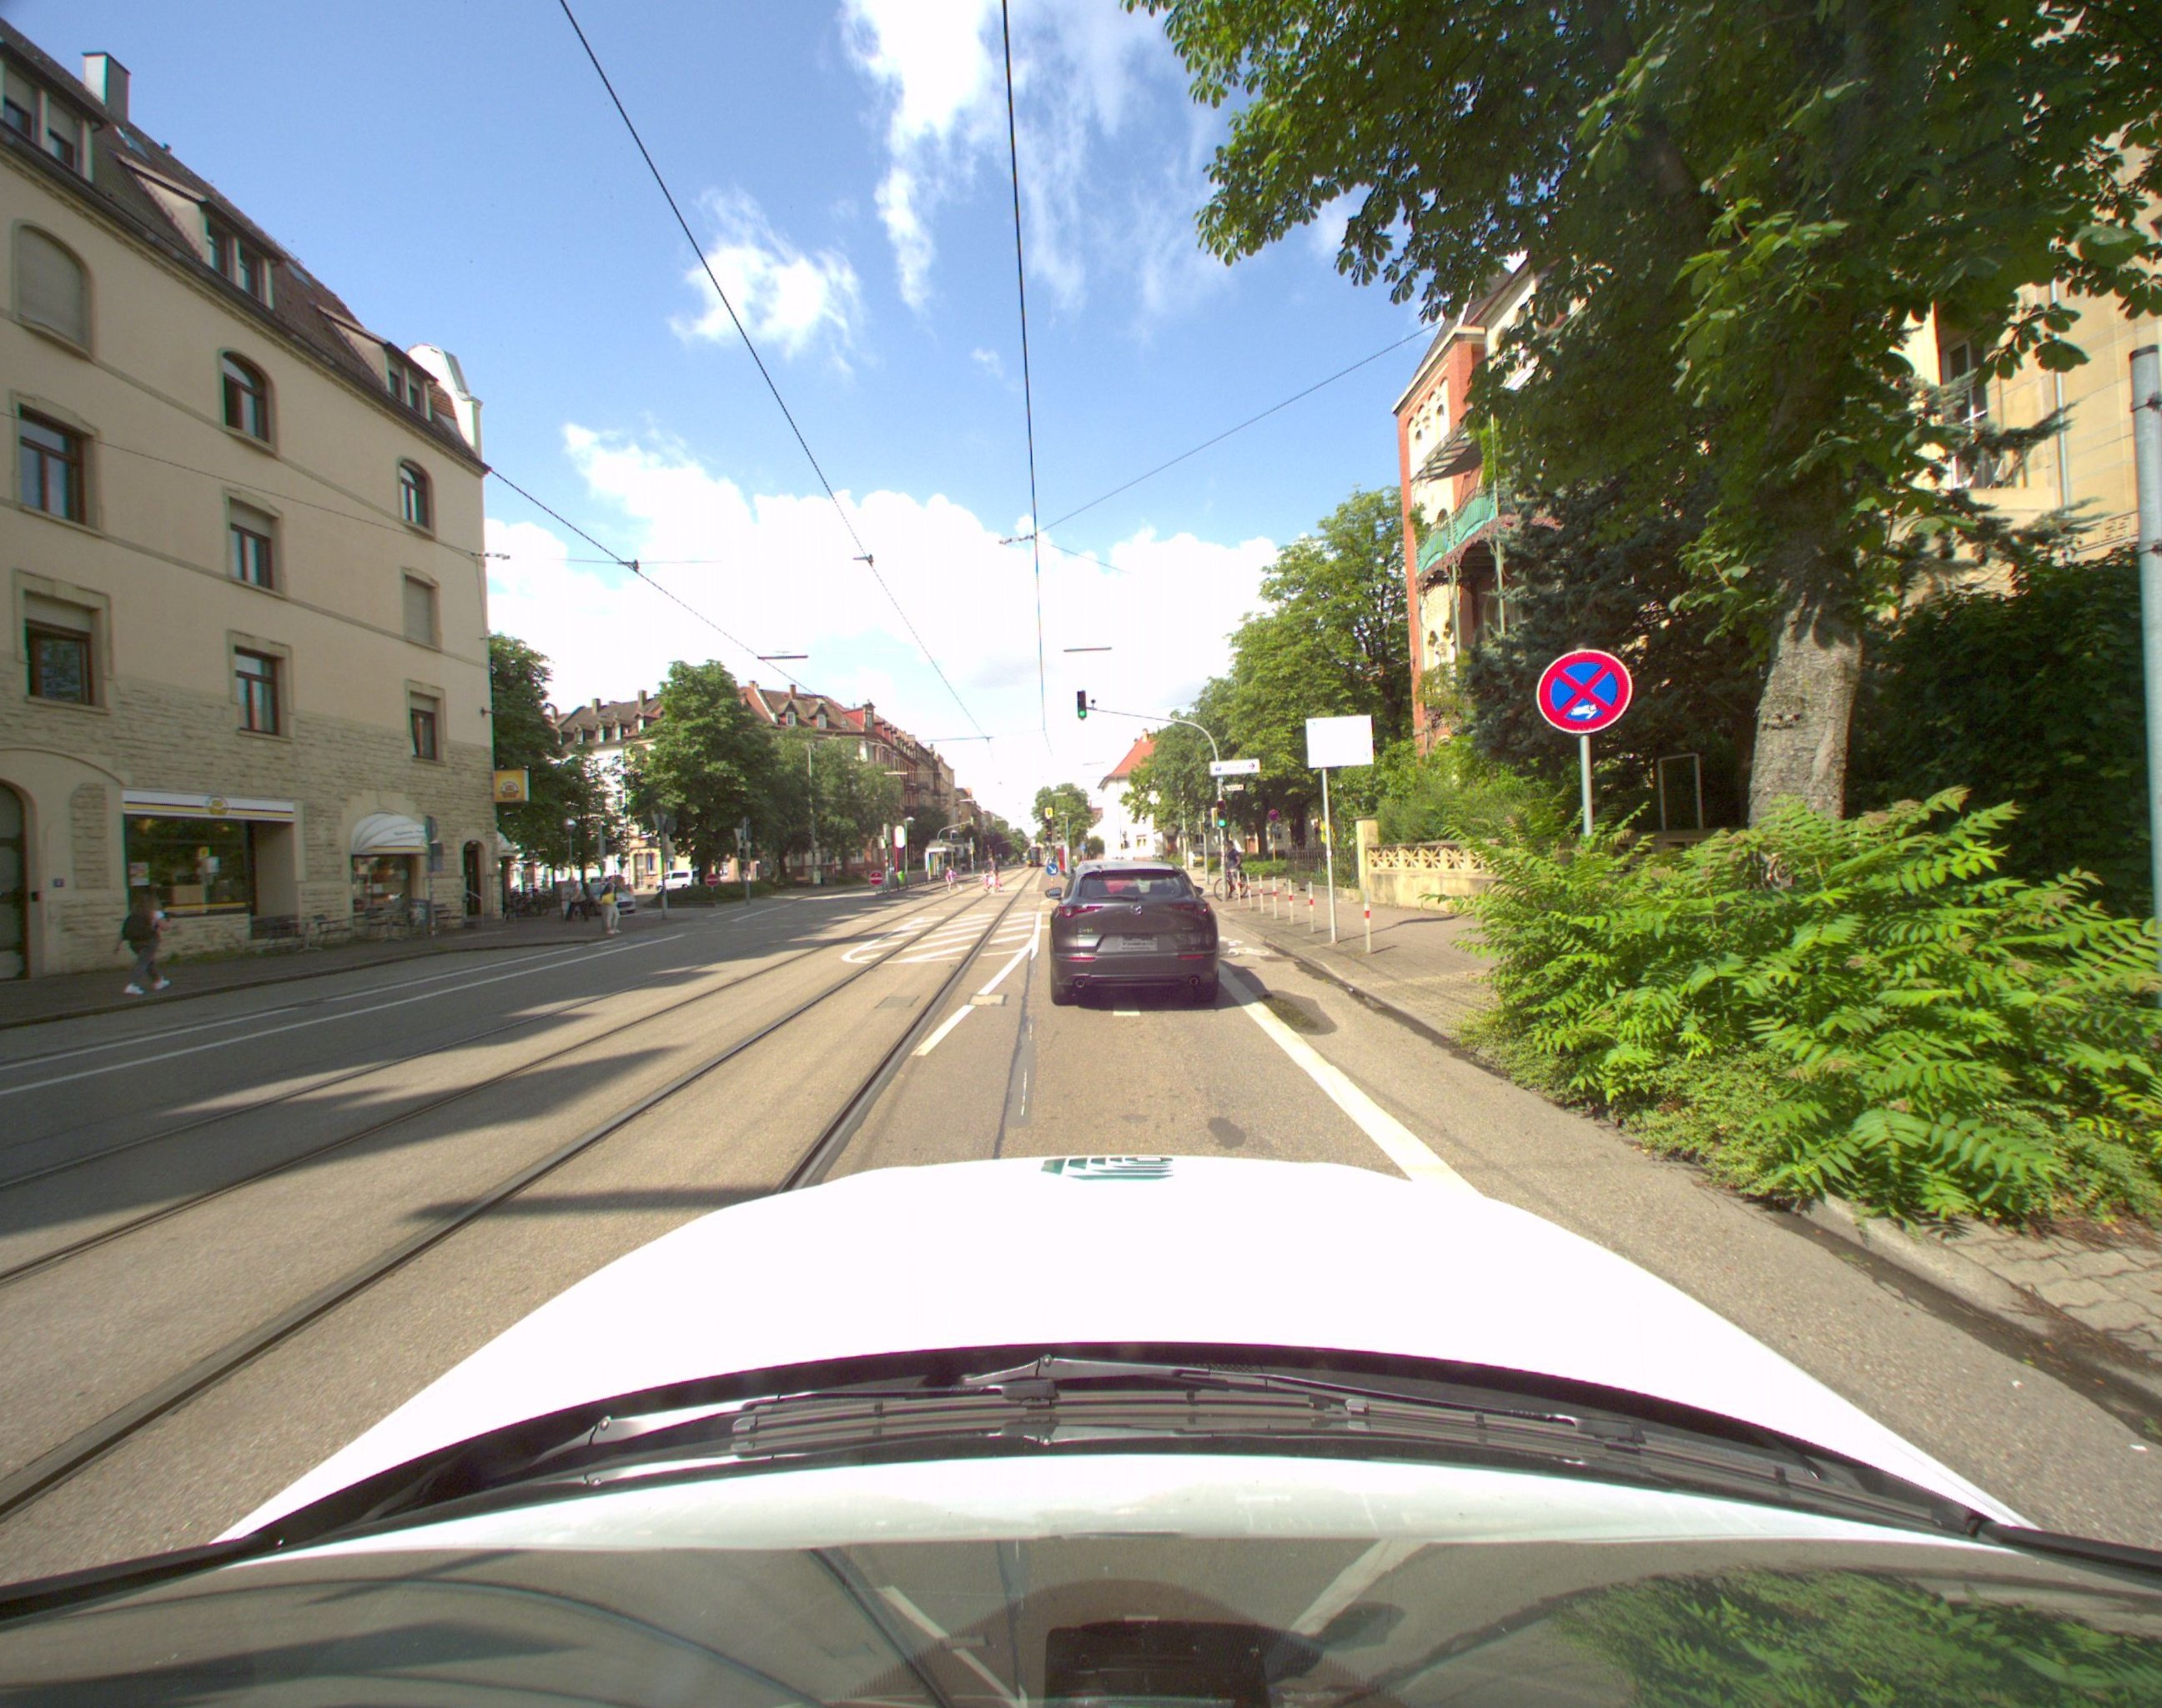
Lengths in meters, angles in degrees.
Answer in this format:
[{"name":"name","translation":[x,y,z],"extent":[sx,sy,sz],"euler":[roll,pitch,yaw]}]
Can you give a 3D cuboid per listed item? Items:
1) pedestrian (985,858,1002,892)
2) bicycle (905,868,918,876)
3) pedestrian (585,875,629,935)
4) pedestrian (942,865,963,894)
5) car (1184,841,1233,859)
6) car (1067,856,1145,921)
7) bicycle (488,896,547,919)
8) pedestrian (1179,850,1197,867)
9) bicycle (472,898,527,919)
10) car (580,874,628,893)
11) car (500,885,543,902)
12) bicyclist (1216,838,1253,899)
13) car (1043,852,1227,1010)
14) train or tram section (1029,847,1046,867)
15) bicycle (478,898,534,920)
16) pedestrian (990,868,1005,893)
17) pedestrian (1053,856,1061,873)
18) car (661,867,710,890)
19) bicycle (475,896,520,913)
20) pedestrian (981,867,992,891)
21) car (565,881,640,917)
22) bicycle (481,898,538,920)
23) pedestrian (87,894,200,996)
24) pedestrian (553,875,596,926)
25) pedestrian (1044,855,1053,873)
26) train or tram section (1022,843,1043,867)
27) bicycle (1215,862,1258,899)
[{"name":"pedestrian","translation":[-4.158,1.004,38.830],"extent":[0.727,1.565,0.797],"euler":[-3,-1,-7]},{"name":"bicycle","translation":[-19.446,2.058,93.413],"extent":[0.381,0.747,1.722],"euler":[-3,0,34]},{"name":"pedestrian","translation":[-14.002,1.483,24.097],"extent":[0.754,1.704,0.873],"euler":[1,-1,-3]},{"name":"pedestrian","translation":[-6.160,1.200,39.109],"extent":[0.825,1.303,0.715],"euler":[-5,0,-7]},{"name":"car","translation":[12.117,-0.365,77.388],"extent":[4.118,1.509,1.864],"euler":[-3,1,40]},{"name":"car","translation":[0.631,0.805,20.686],"extent":[1.769,1.464,3.843],"euler":[-1,0,1]},{"name":"bicycle","translation":[-24.528,2.327,35.505],"extent":[0.516,0.882,2.043],"euler":[-3,-2,44]},{"name":"pedestrian","translation":[8.430,0.343,64.140],"extent":[1.191,1.269,0.556],"euler":[-5,0,-7]},{"name":"bicycle","translation":[-27.296,2.535,38.229],"extent":[0.505,0.882,2.043],"euler":[-3,-2,44]},{"name":"car","translation":[-46.839,2.895,79.945],"extent":[3.895,1.663,1.926],"euler":[-3,0,20]},{"name":"car","translation":[-57.183,4.048,83.232],"extent":[3.605,1.494,1.638],"euler":[-3,0,18]},{"name":"bicyclist","translation":[4.792,0.453,25.446],"extent":[0.736,1.819,0.814],"euler":[-3,0,-25]},{"name":"car","translation":[0.598,0.767,9.936],"extent":[1.775,1.514,4.002],"euler":[-1,-1,2]},{"name":"train or tram section","translation":[-9.157,0.744,171.160],"extent":[2.989,3.983,13.798],"euler":[-3,-1,-2]},{"name":"bicycle","translation":[-26.321,2.510,37.316],"extent":[0.505,0.882,2.043],"euler":[-3,-2,44]},{"name":"pedestrian","translation":[-3.902,1.227,38.224],"extent":[0.640,1.114,0.443],"euler":[-3,-1,-7]},{"name":"pedestrian","translation":[-2.284,1.003,76.376],"extent":[0.666,1.546,0.580],"euler":[-3,0,-3]},{"name":"car","translation":[-37.417,2.316,77.029],"extent":[3.901,1.988,1.866],"euler":[-3,0,21]},{"name":"bicycle","translation":[-33.526,2.890,46.803],"extent":[2.037,0.898,0.566],"euler":[-1,-2,-30]},{"name":"pedestrian","translation":[-4.580,1.223,39.481],"extent":[0.437,1.108,0.422],"euler":[-5,0,-7]},{"name":"car","translation":[-21.367,1.995,36.329],"extent":[3.823,1.420,1.732],"euler":[-3,0,41]},{"name":"bicycle","translation":[-25.518,2.443,36.393],"extent":[0.505,0.882,2.043],"euler":[-3,-2,44]},{"name":"pedestrian","translation":[-15.151,1.441,13.195],"extent":[0.693,1.541,0.961],"euler":[1,-1,-8]},{"name":"pedestrian","translation":[-17.292,1.573,27.818],"extent":[0.852,1.672,0.821],"euler":[-3,0,-2]},{"name":"pedestrian","translation":[-3.119,0.967,78.812],"extent":[0.769,1.674,0.667],"euler":[-3,0,-3]},{"name":"train or tram section","translation":[-8.457,0.267,143.609],"extent":[2.989,3.983,13.798],"euler":[-3,-1,-2]},{"name":"bicycle","translation":[4.896,0.819,25.577],"extent":[0.385,1.035,1.857],"euler":[-3,0,42]}]
